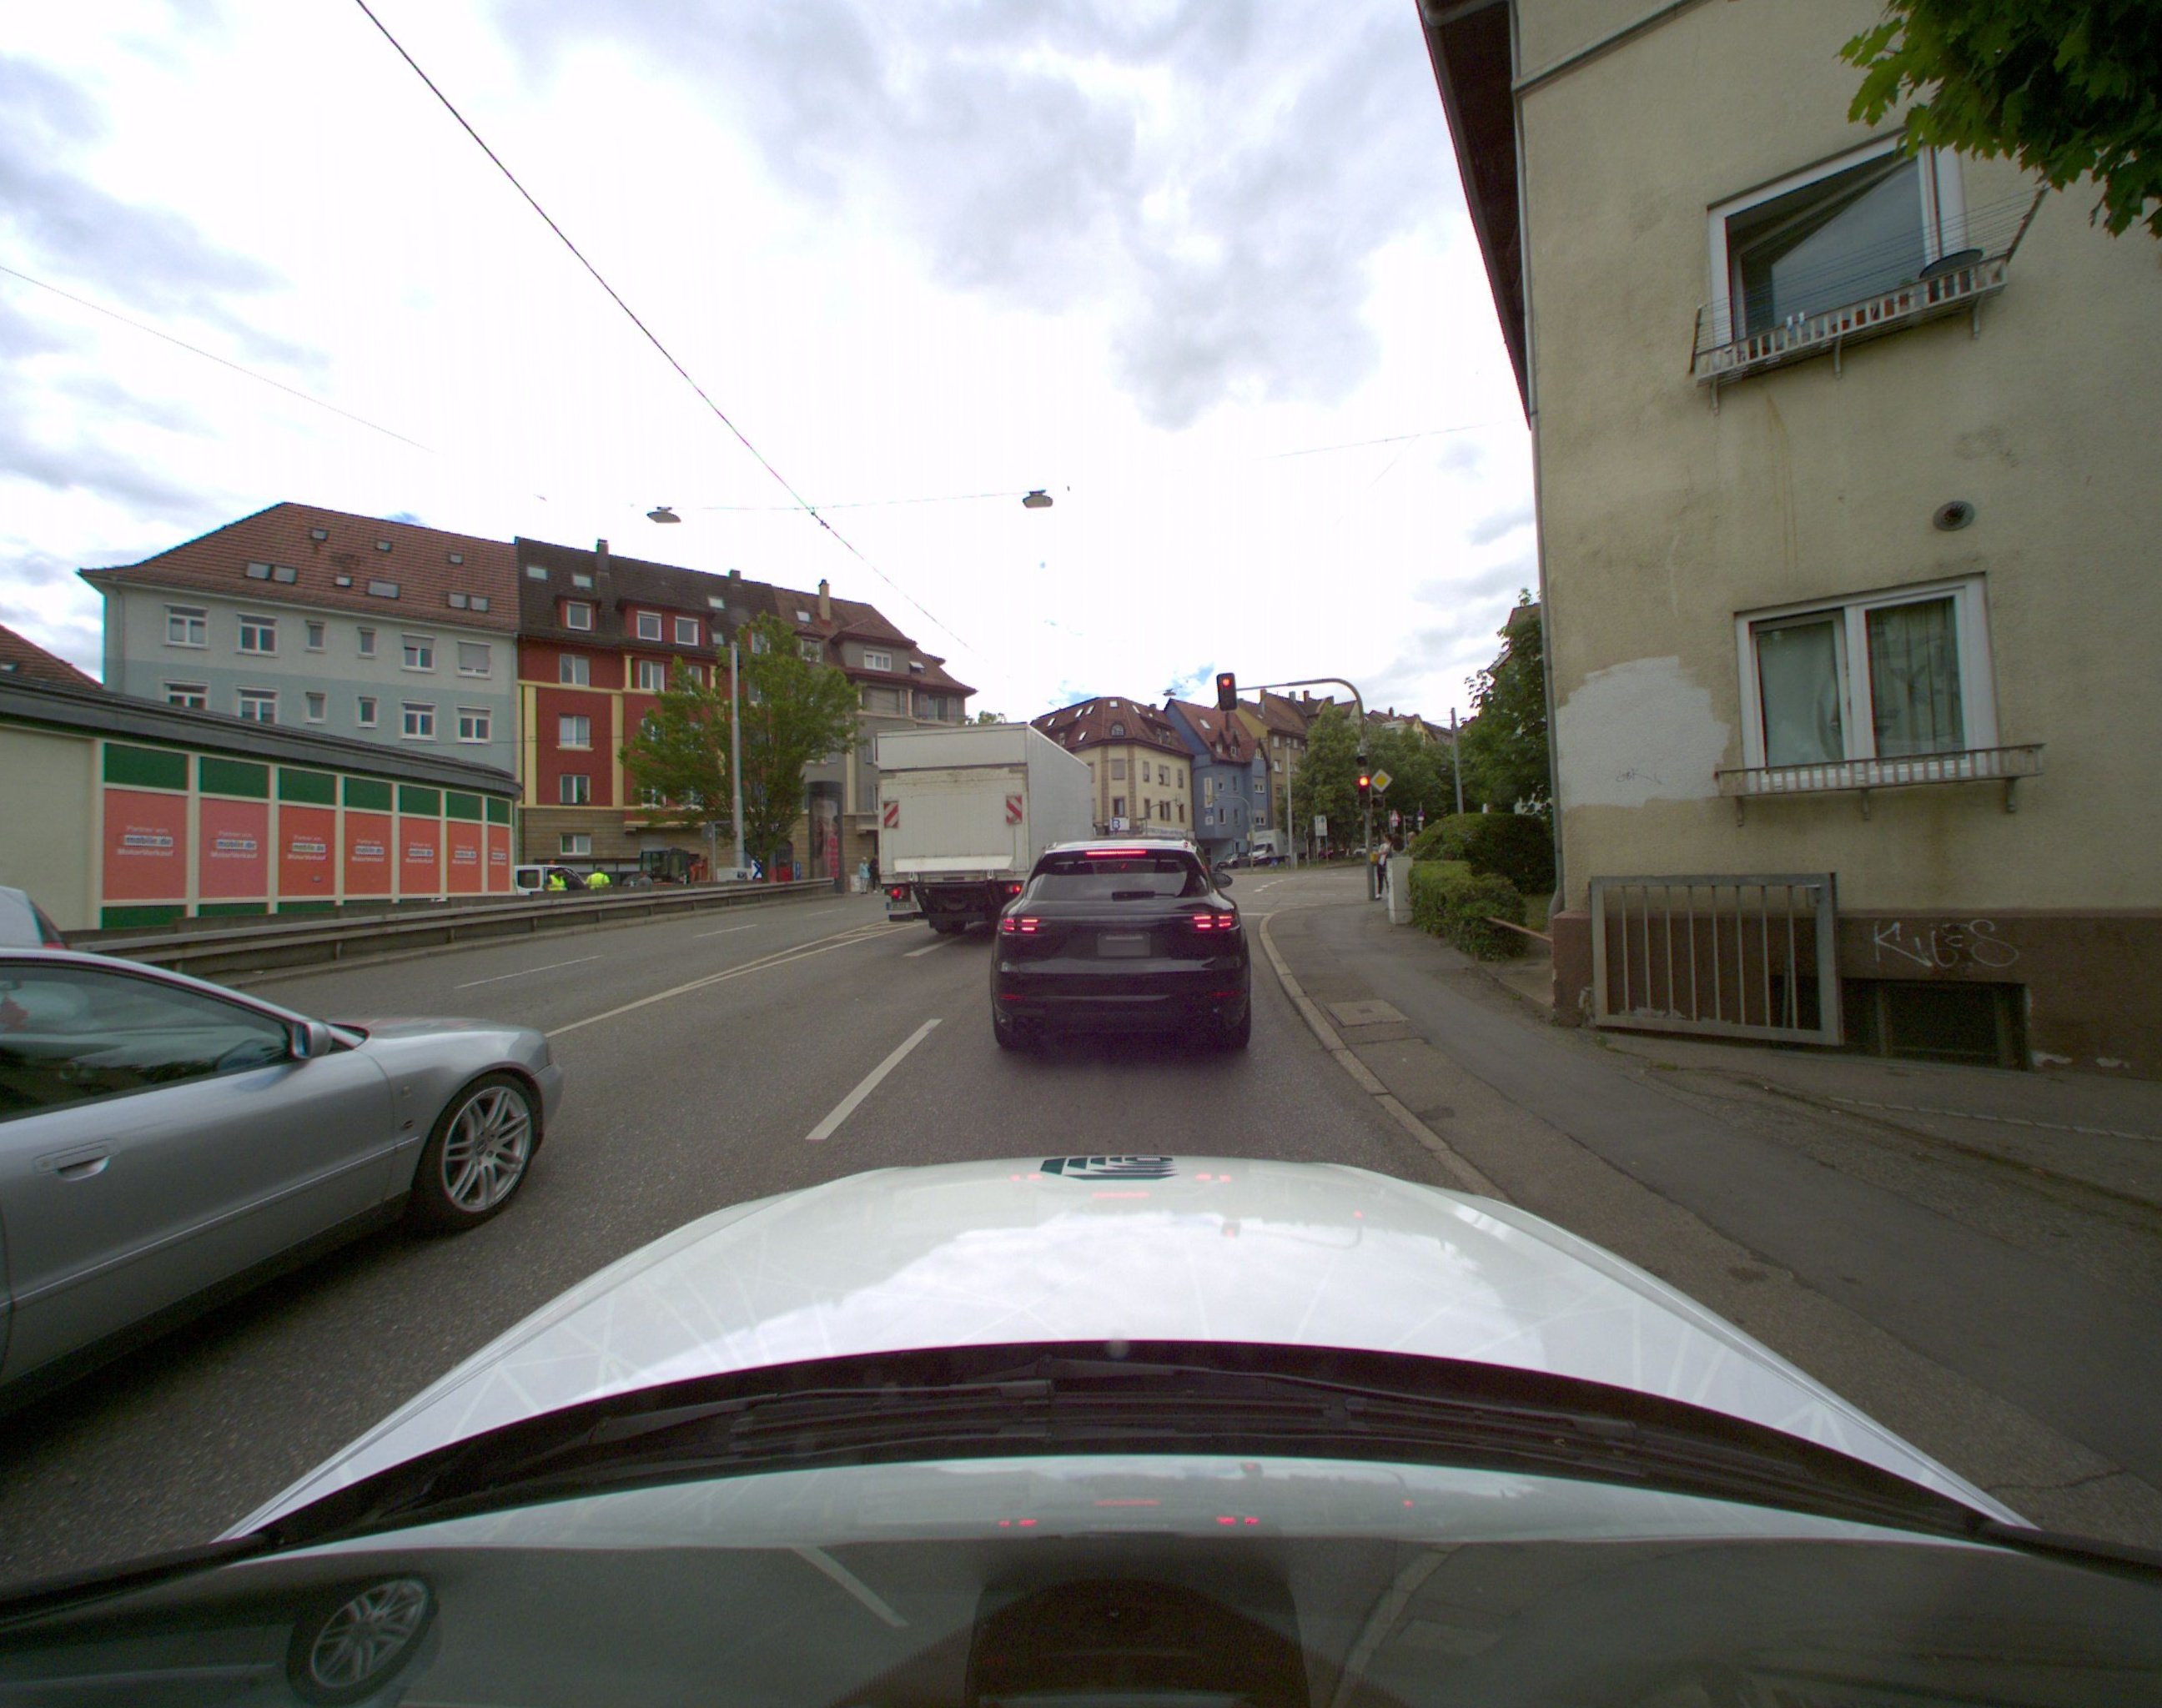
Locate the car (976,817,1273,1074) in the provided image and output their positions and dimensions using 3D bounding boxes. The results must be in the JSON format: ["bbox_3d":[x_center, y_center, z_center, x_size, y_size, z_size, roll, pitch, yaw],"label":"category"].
[{"bbox_3d":[0.272,0.597,7.497,1.973,1.684,3.998,-1,0,-1],"label":"car"}]

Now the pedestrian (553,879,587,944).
[{"bbox_3d":[-13.705,1.530,21.854,0.562,1.700,0.541,1,-1,-10],"label":"pedestrian"}]

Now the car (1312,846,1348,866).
[{"bbox_3d":[26.211,0.251,85.735,1.975,2.014,4.023,0,-1,45],"label":"car"}]

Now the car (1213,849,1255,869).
[{"bbox_3d":[13.493,0.437,71.708,1.974,1.684,4.025,-2,-1,40],"label":"car"}]

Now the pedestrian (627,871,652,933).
[{"bbox_3d":[-12.593,1.364,23.216,0.545,1.730,0.587,1,-1,-33],"label":"pedestrian"}]

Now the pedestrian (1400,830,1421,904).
[{"bbox_3d":[8.225,0.326,20.337,0.459,1.837,0.325,0,-1,16],"label":"pedestrian"}]

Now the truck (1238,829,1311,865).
[{"bbox_3d":[18.715,-0.644,78.346,2.846,3.340,8.846,0,0,43],"label":"truck"}]

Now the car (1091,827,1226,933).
[{"bbox_3d":[1.583,0.443,15.164,1.980,1.684,4.014,-1,0,12],"label":"car"}]

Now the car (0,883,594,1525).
[{"bbox_3d":[-3.347,0.874,2.019,1.690,1.373,4.178,-1,1,1],"label":"car"}]

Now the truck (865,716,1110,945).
[{"bbox_3d":[-1.383,-0.390,16.921,2.751,3.575,8.088,-1,0,10],"label":"truck"}]

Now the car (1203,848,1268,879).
[{"bbox_3d":[10.428,0.674,55.289,2.011,2.014,3.952,1,-1,-42],"label":"car"}]

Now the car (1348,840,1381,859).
[{"bbox_3d":[31.836,-0.457,91.308,1.975,2.014,4.023,0,-1,45],"label":"car"}]

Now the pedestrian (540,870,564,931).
[{"bbox_3d":[-15.536,1.349,23.906,0.479,1.730,0.536,1,-1,-44],"label":"pedestrian"}]

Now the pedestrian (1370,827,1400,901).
[{"bbox_3d":[7.647,0.250,20.528,0.586,1.819,0.530,1,-1,5],"label":"pedestrian"}]

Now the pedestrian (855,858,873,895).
[{"bbox_3d":[-9.409,0.970,35.340,0.587,1.567,0.486,1,-1,1],"label":"pedestrian"}]

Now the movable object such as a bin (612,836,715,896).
[{"bbox_3d":[-13.349,0.386,26.327,1.903,1.771,3.984,1,0,-11],"label":"movable object such as a bin"}]

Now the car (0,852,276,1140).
[{"bbox_3d":[-6.929,0.808,4.120,1.703,1.618,4.000,-1,0,0],"label":"car"}]

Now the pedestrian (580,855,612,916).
[{"bbox_3d":[-14.163,0.905,23.797,0.571,1.761,0.616,1,-1,-8],"label":"pedestrian"}]
